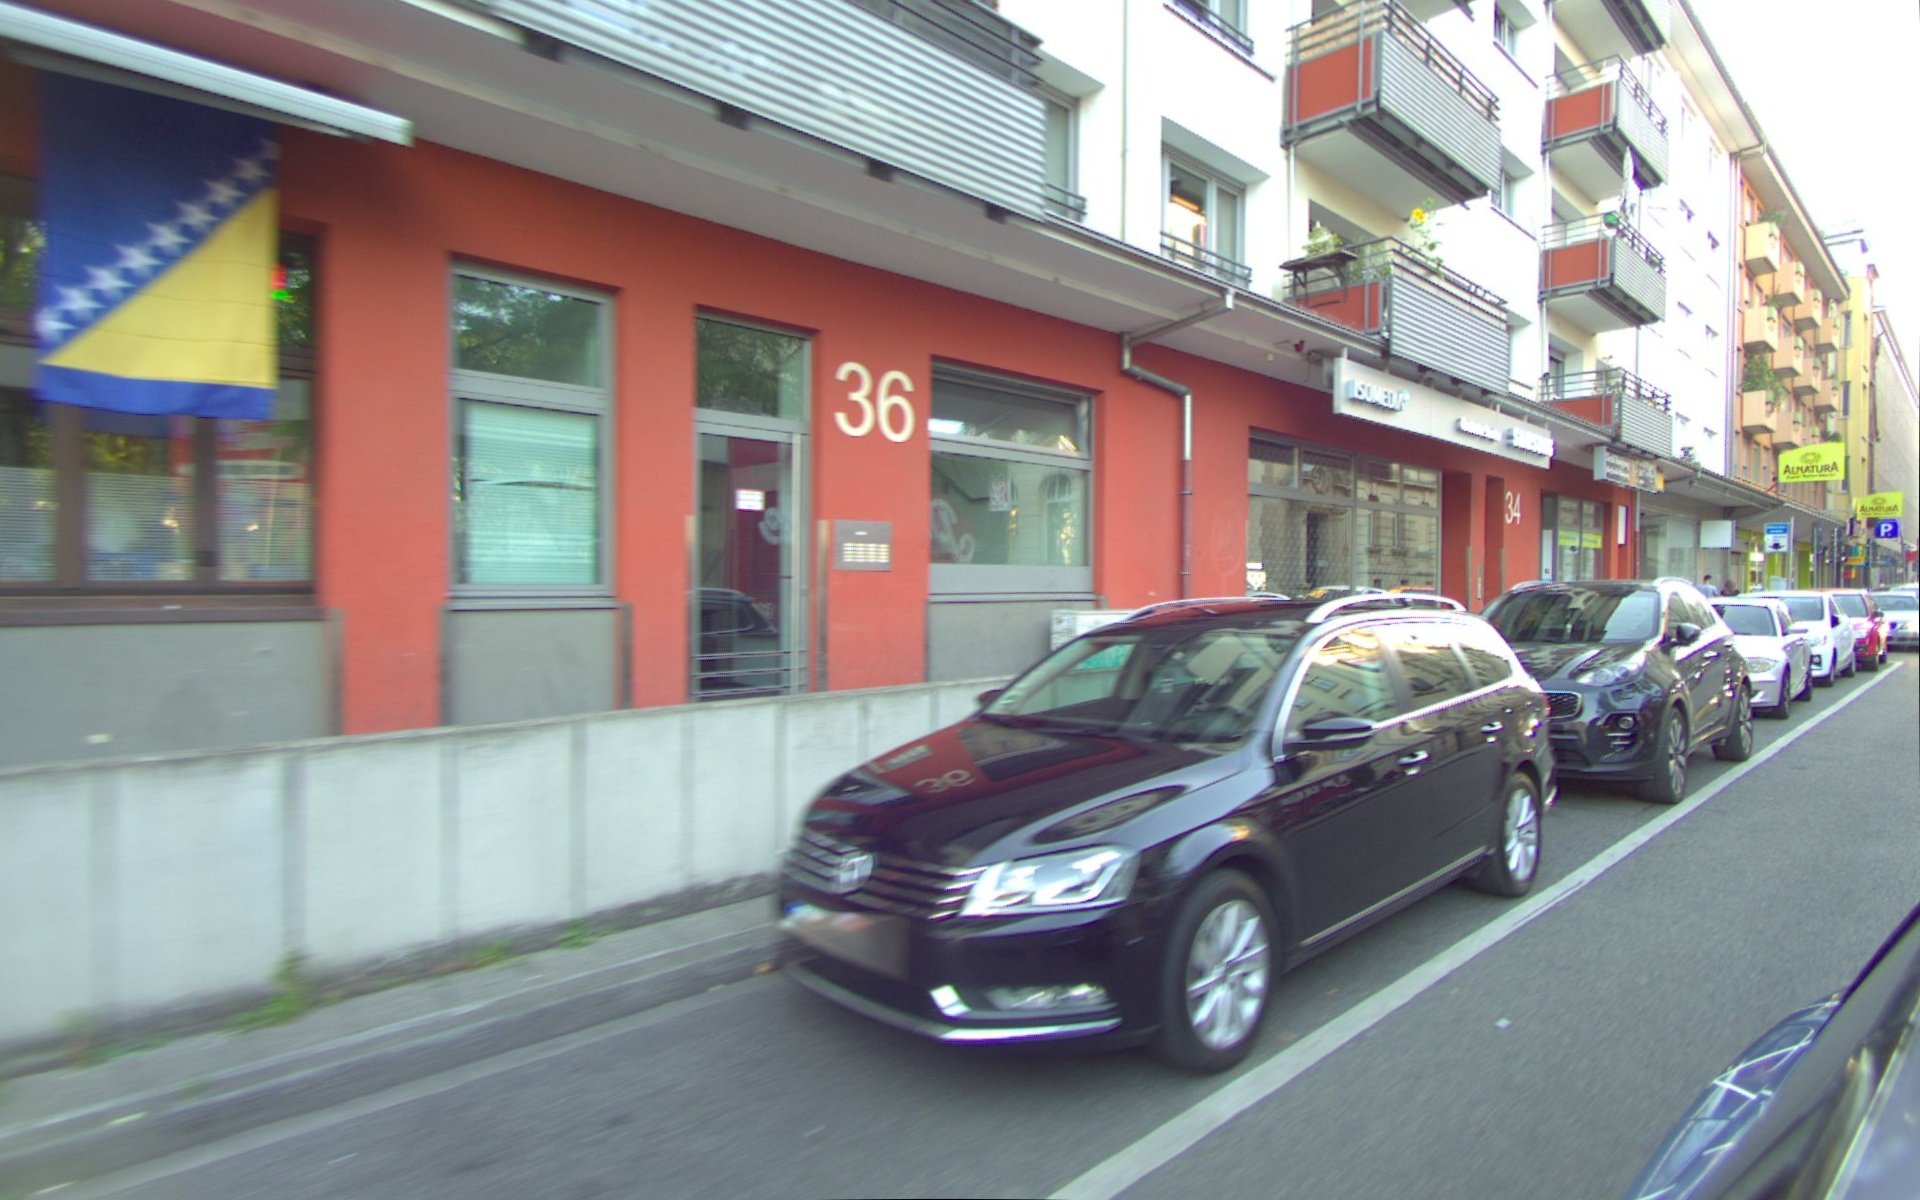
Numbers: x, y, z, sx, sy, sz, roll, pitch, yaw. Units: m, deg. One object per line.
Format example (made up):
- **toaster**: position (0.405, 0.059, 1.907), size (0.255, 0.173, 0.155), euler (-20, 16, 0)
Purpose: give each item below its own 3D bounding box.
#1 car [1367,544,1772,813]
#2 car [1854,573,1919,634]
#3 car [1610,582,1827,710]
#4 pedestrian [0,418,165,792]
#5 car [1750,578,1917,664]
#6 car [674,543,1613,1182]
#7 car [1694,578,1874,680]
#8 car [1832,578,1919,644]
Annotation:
- **car**: position (5.299, 0.486, 8.572), size (4.068, 1.721, 1.881), euler (-1, 0, -43)
- **car**: position (26.943, 0.076, 28.452), size (4.288, 1.637, 1.998), euler (-1, 0, -39)
- **car**: position (9.968, 0.494, 13.196), size (1.748, 1.421, 3.903), euler (-1, 0, 45)
- **pedestrian**: position (-5.205, 0.022, 5.919), size (0.798, 2.039, 0.670), euler (0, 0, -33)
- **car**: position (17.081, 0.351, 19.718), size (4.318, 1.496, 1.865), euler (-1, 0, -41)
- **car**: position (1.215, 0.627, 4.707), size (4.550, 1.571, 1.877), euler (-1, 0, -41)
- **car**: position (13.790, 0.417, 16.864), size (3.880, 1.496, 1.765), euler (-1, 0, -42)
- **car**: position (22.836, 0.236, 24.600), size (4.226, 1.496, 1.895), euler (-1, 0, -41)
